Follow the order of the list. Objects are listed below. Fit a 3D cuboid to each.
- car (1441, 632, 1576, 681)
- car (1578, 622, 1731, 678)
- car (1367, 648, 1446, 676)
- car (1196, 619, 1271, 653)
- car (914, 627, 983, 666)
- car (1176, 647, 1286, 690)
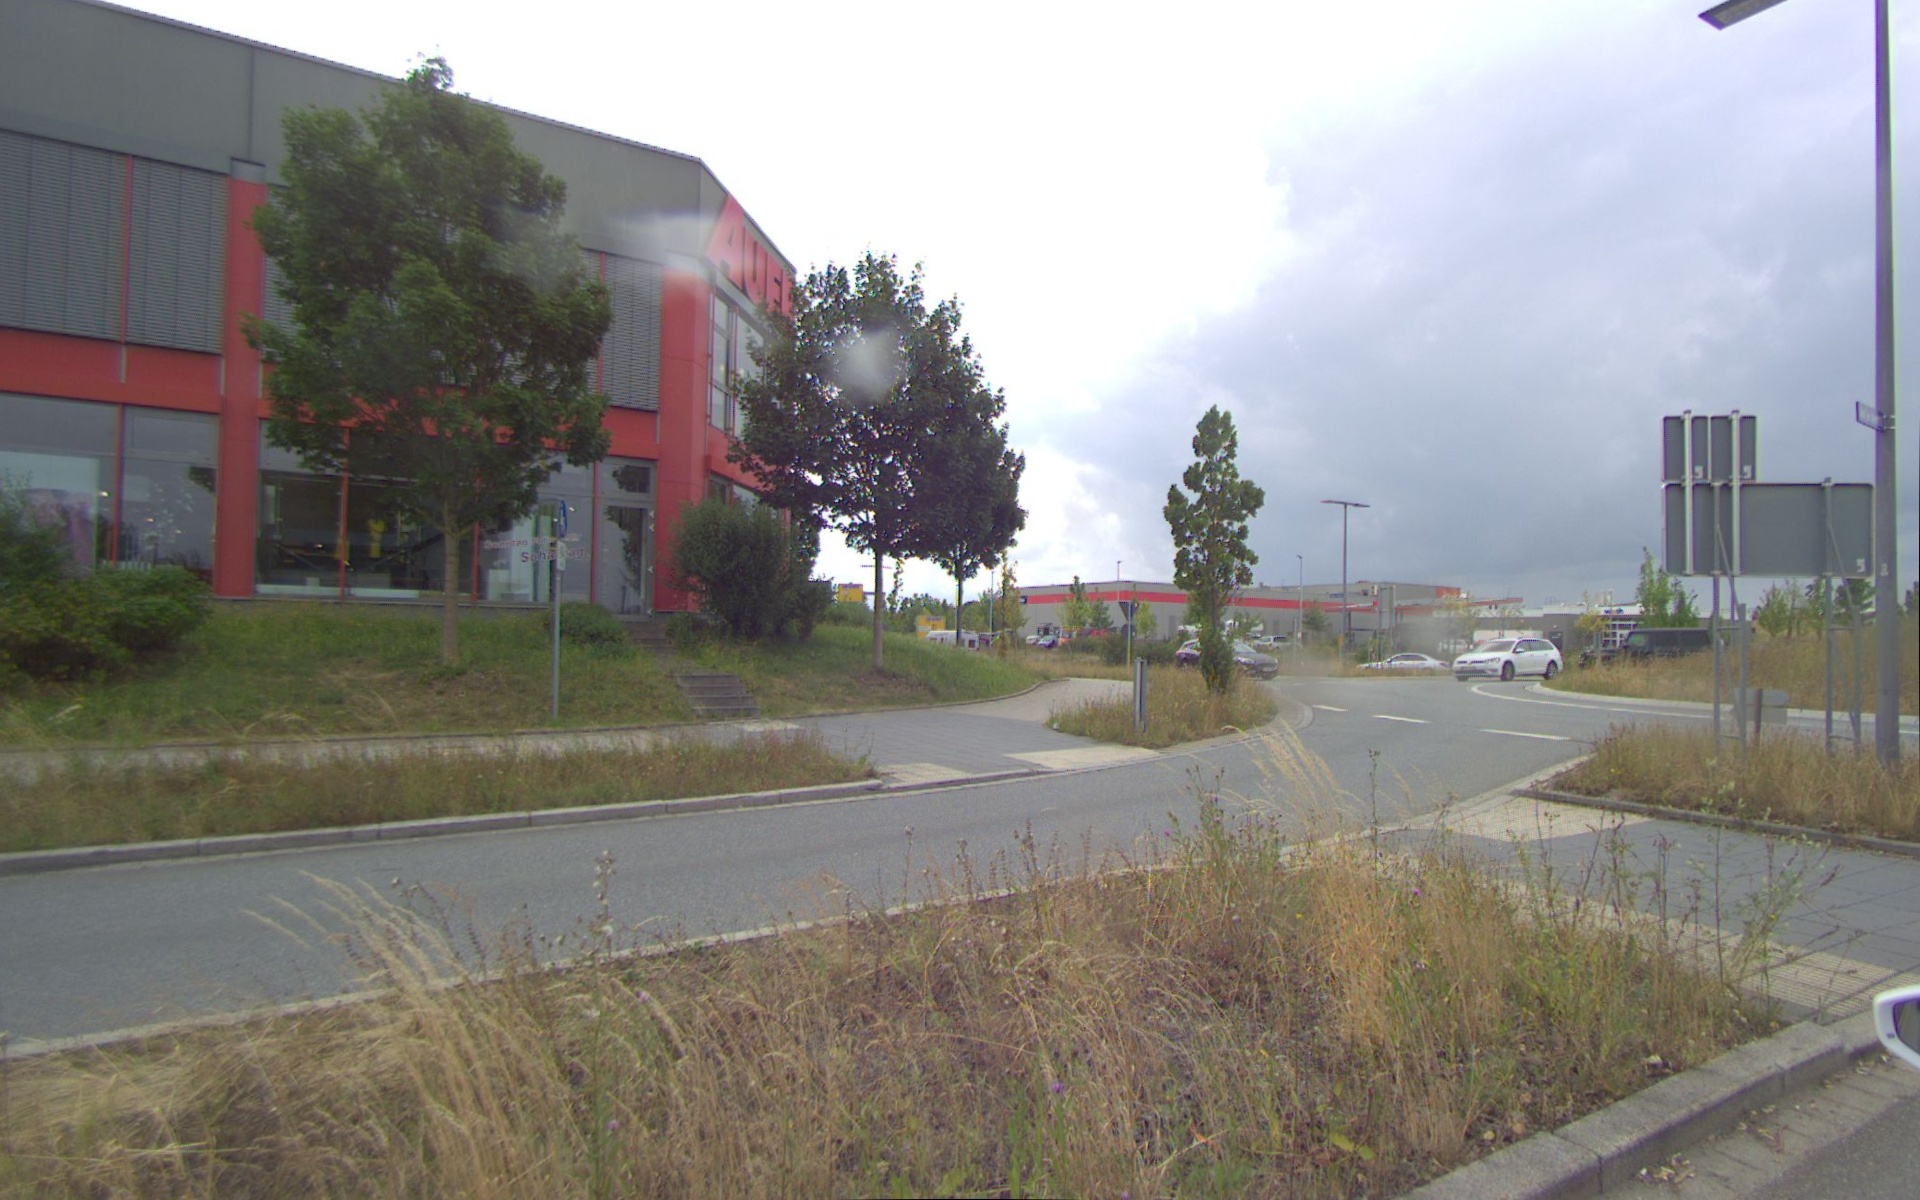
[{"bbox_3d":[18.789,1.945,34.373,4.584,1.427,1.716,4,-1,-27],"label":"car"},{"bbox_3d":[26.102,1.864,37.955,4.562,1.776,1.724,2,-1,31],"label":"car"},{"bbox_3d":[23.112,3.196,52.023,3.678,1.318,1.498,0,-3,28],"label":"car"},{"bbox_3d":[26.098,3.472,95.788,7.610,2.857,2.448,4,-1,-33],"label":"car"},{"bbox_3d":[-0.857,3.223,70.698,2.255,2.418,5.664,4,-1,-31],"label":"car"},{"bbox_3d":[9.853,2.486,36.731,1.662,1.267,3.554,4,-1,-39],"label":"car"}]
